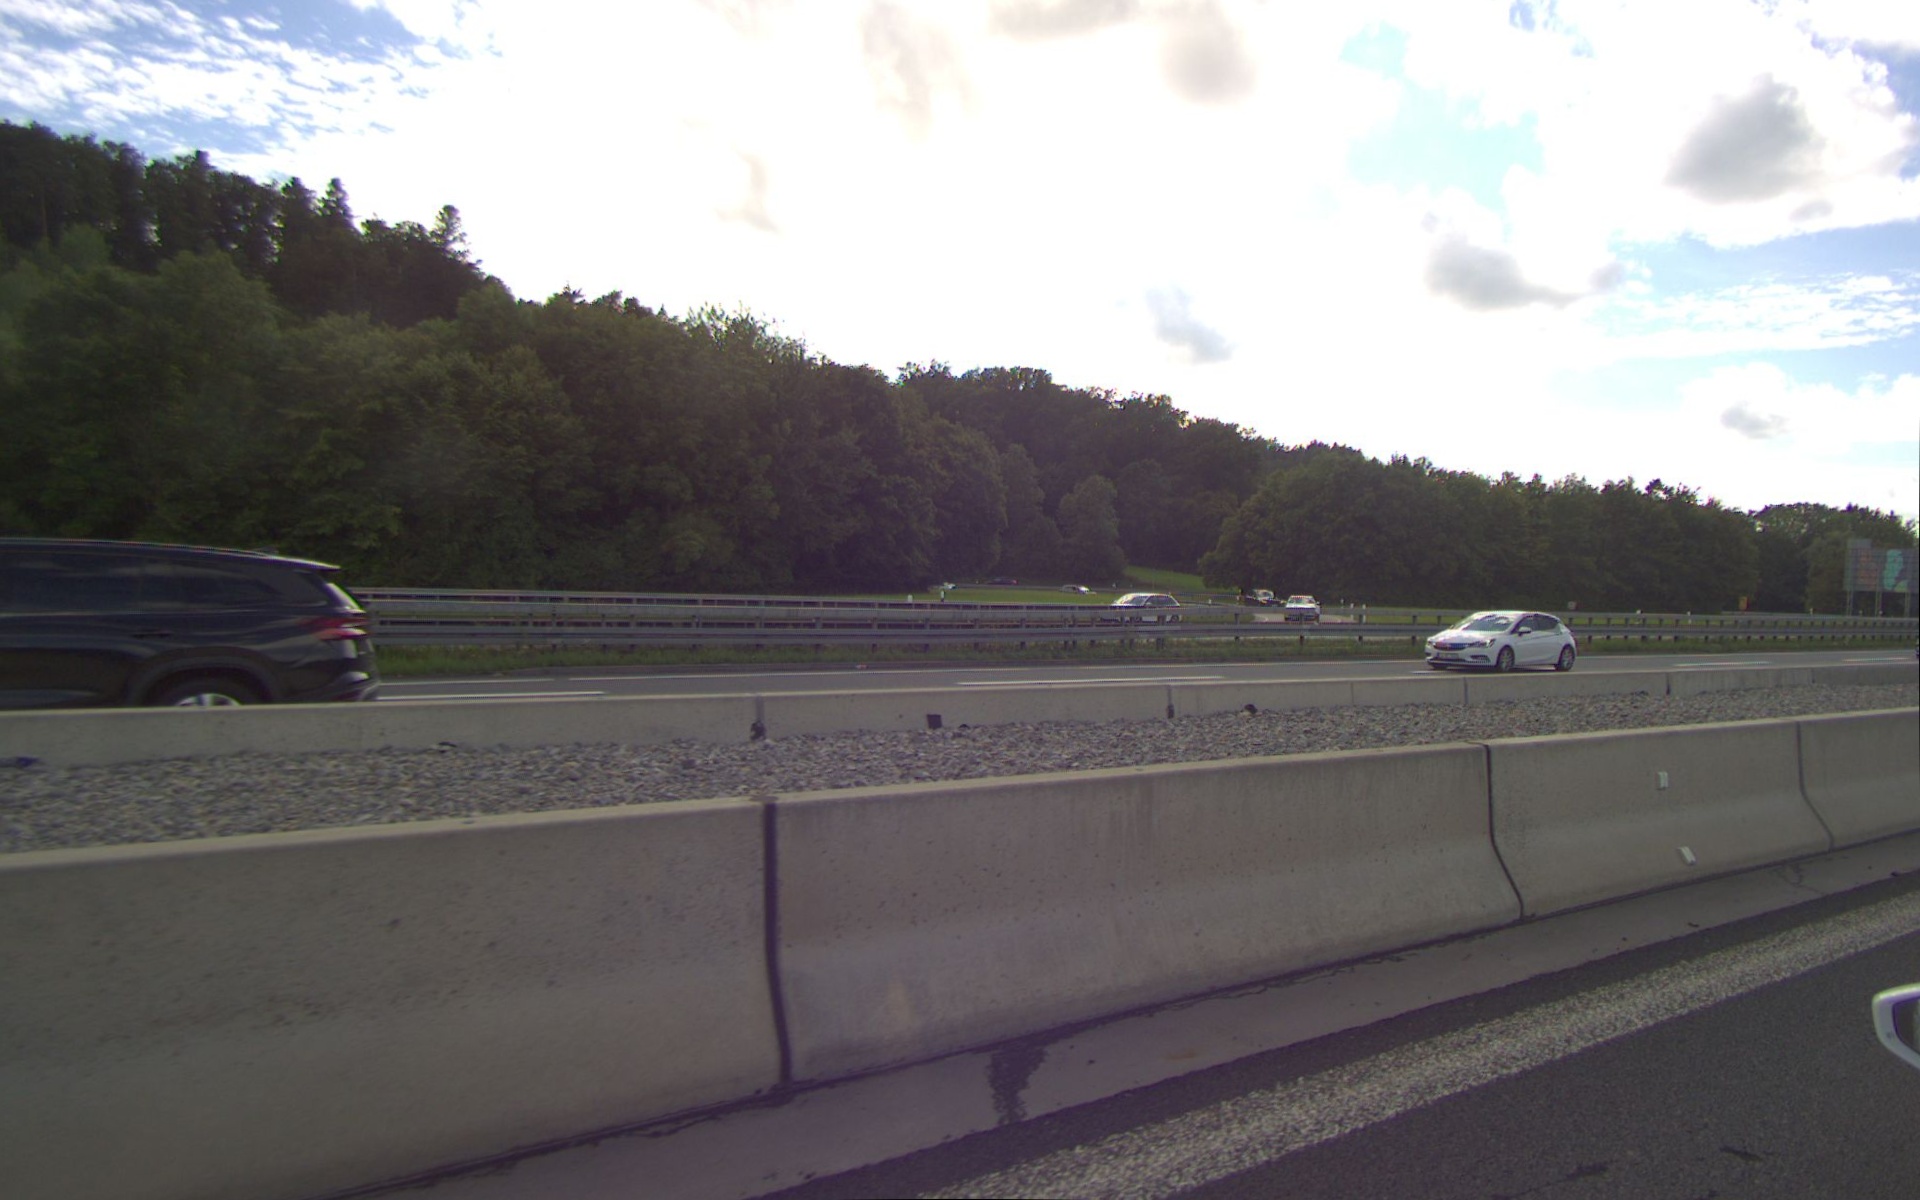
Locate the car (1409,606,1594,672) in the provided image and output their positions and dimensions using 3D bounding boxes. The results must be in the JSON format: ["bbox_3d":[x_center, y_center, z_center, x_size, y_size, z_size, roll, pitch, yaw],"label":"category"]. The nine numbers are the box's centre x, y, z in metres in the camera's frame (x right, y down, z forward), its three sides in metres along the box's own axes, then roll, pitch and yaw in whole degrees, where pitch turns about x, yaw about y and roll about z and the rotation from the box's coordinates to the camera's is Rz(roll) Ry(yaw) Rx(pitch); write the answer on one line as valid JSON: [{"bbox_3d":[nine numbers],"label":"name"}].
[{"bbox_3d":[13.218,0.933,24.462,4.523,1.449,1.877,1,0,-30],"label":"car"}]

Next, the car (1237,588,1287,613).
[{"bbox_3d":[23.385,-0.020,77.962,2.354,1.795,5.243,1,1,1],"label":"car"}]

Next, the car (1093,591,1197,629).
[{"bbox_3d":[7.661,0.411,41.426,4.589,1.450,1.766,1,1,-42],"label":"car"}]

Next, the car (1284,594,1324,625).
[{"bbox_3d":[20.837,0.549,60.786,1.904,1.694,5.221,2,1,23],"label":"car"}]

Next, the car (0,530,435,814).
[{"bbox_3d":[-6.566,0.447,7.206,4.894,1.808,1.877,1,0,-30],"label":"car"}]

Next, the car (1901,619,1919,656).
[{"bbox_3d":[37.200,1.431,37.561,4.180,1.355,1.859,1,0,-31],"label":"car"}]

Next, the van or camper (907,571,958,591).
[{"bbox_3d":[-3.238,-2.260,119.377,5.623,2.279,2.104,2,1,24],"label":"van or camper"}]
